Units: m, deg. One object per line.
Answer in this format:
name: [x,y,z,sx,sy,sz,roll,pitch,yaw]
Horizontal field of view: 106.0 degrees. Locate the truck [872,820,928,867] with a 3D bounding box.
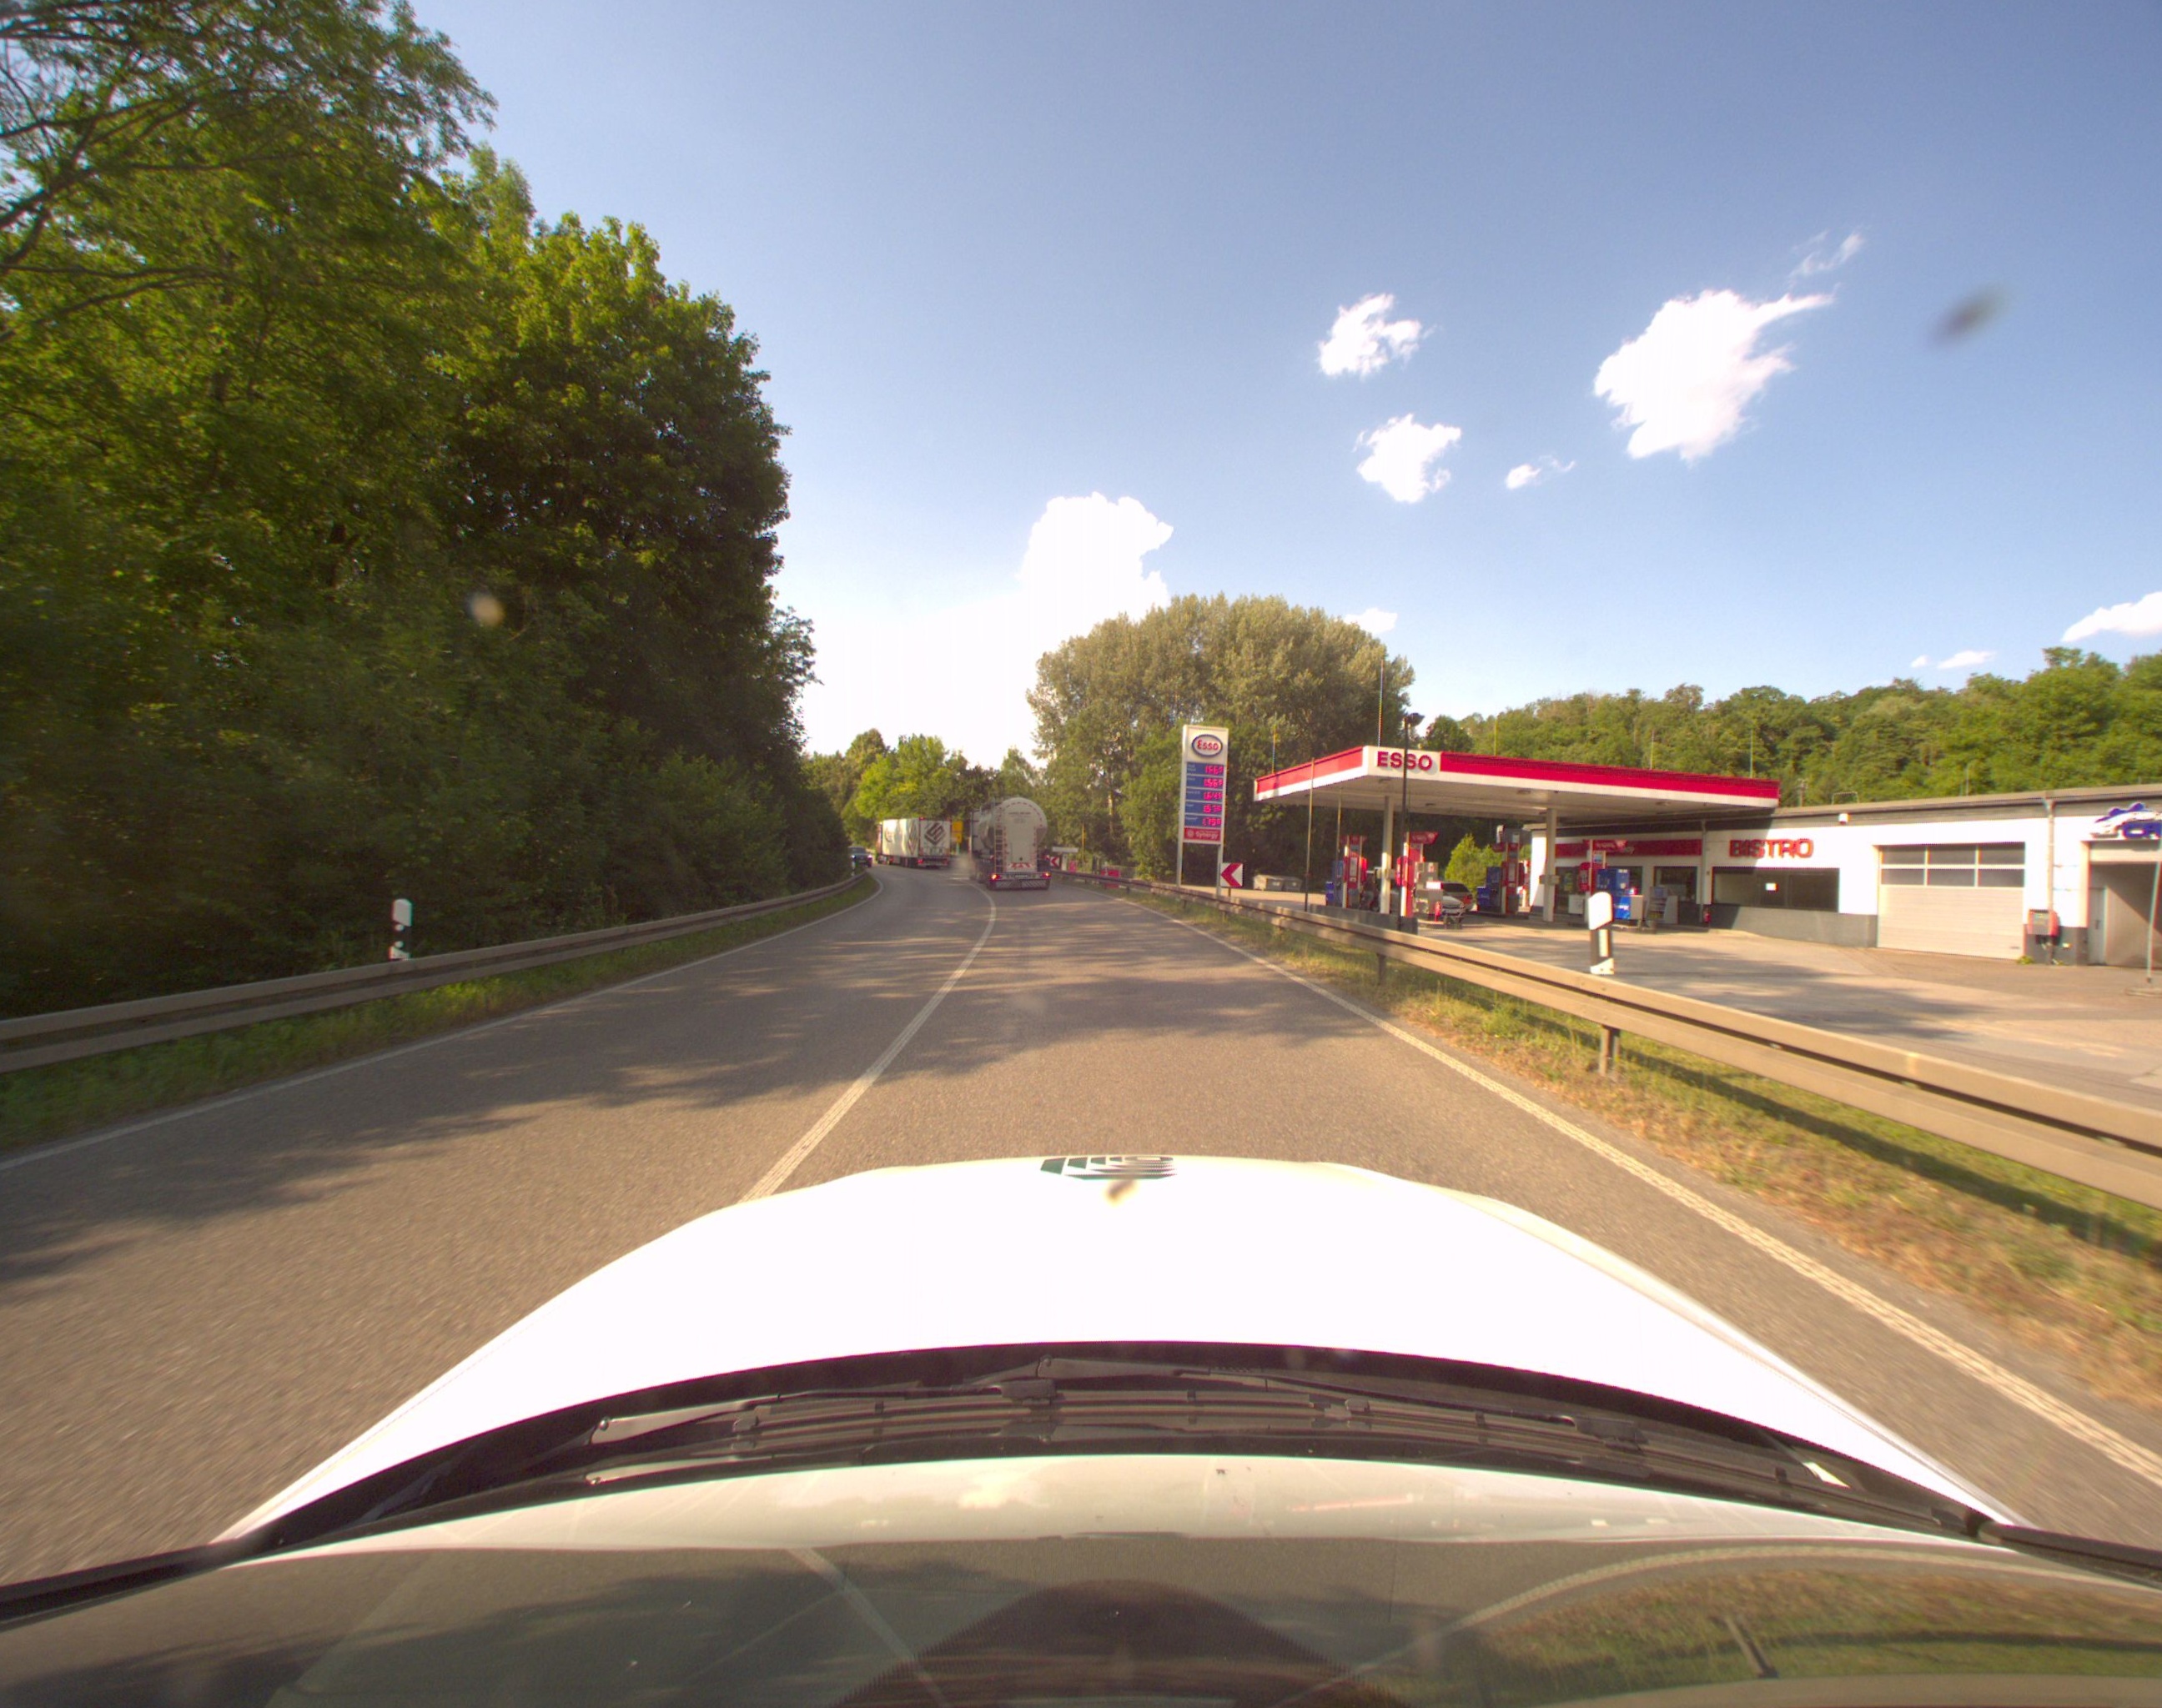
truck: [-16.754,-0.924,75.074,3.469,4.086,6.434,2,0,-27]

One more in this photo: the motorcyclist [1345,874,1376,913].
motorcyclist: [12.053,1.695,35.141,0.858,1.605,0.925,2,-1,-8]

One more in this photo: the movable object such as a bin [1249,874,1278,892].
movable object such as a bin: [16.572,2.604,73.938,1.271,1.420,2.539,5,-2,-22]

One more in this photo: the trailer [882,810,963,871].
trailer: [-13.634,-1.074,68.698,3.563,4.513,12.877,2,0,-25]

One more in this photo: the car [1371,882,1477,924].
car: [13.146,1.858,31.534,1.841,1.319,4.378,2,0,-7]

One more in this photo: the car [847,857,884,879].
car: [-17.601,1.069,66.419,1.879,1.653,4.506,-1,1,-30]

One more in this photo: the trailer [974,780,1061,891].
trailer: [-3.149,-0.745,37.415,2.888,4.454,9.568,0,0,-11]

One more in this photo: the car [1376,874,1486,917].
car: [15.535,1.803,36.496,2.091,1.628,5.164,2,0,-9]

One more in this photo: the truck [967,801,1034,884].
truck: [-4.341,-0.574,42.766,2.827,4.034,5.869,-1,0,-12]

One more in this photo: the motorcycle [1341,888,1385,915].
motorcycle: [12.067,2.001,34.899,0.761,1.012,2.334,2,0,-8]
